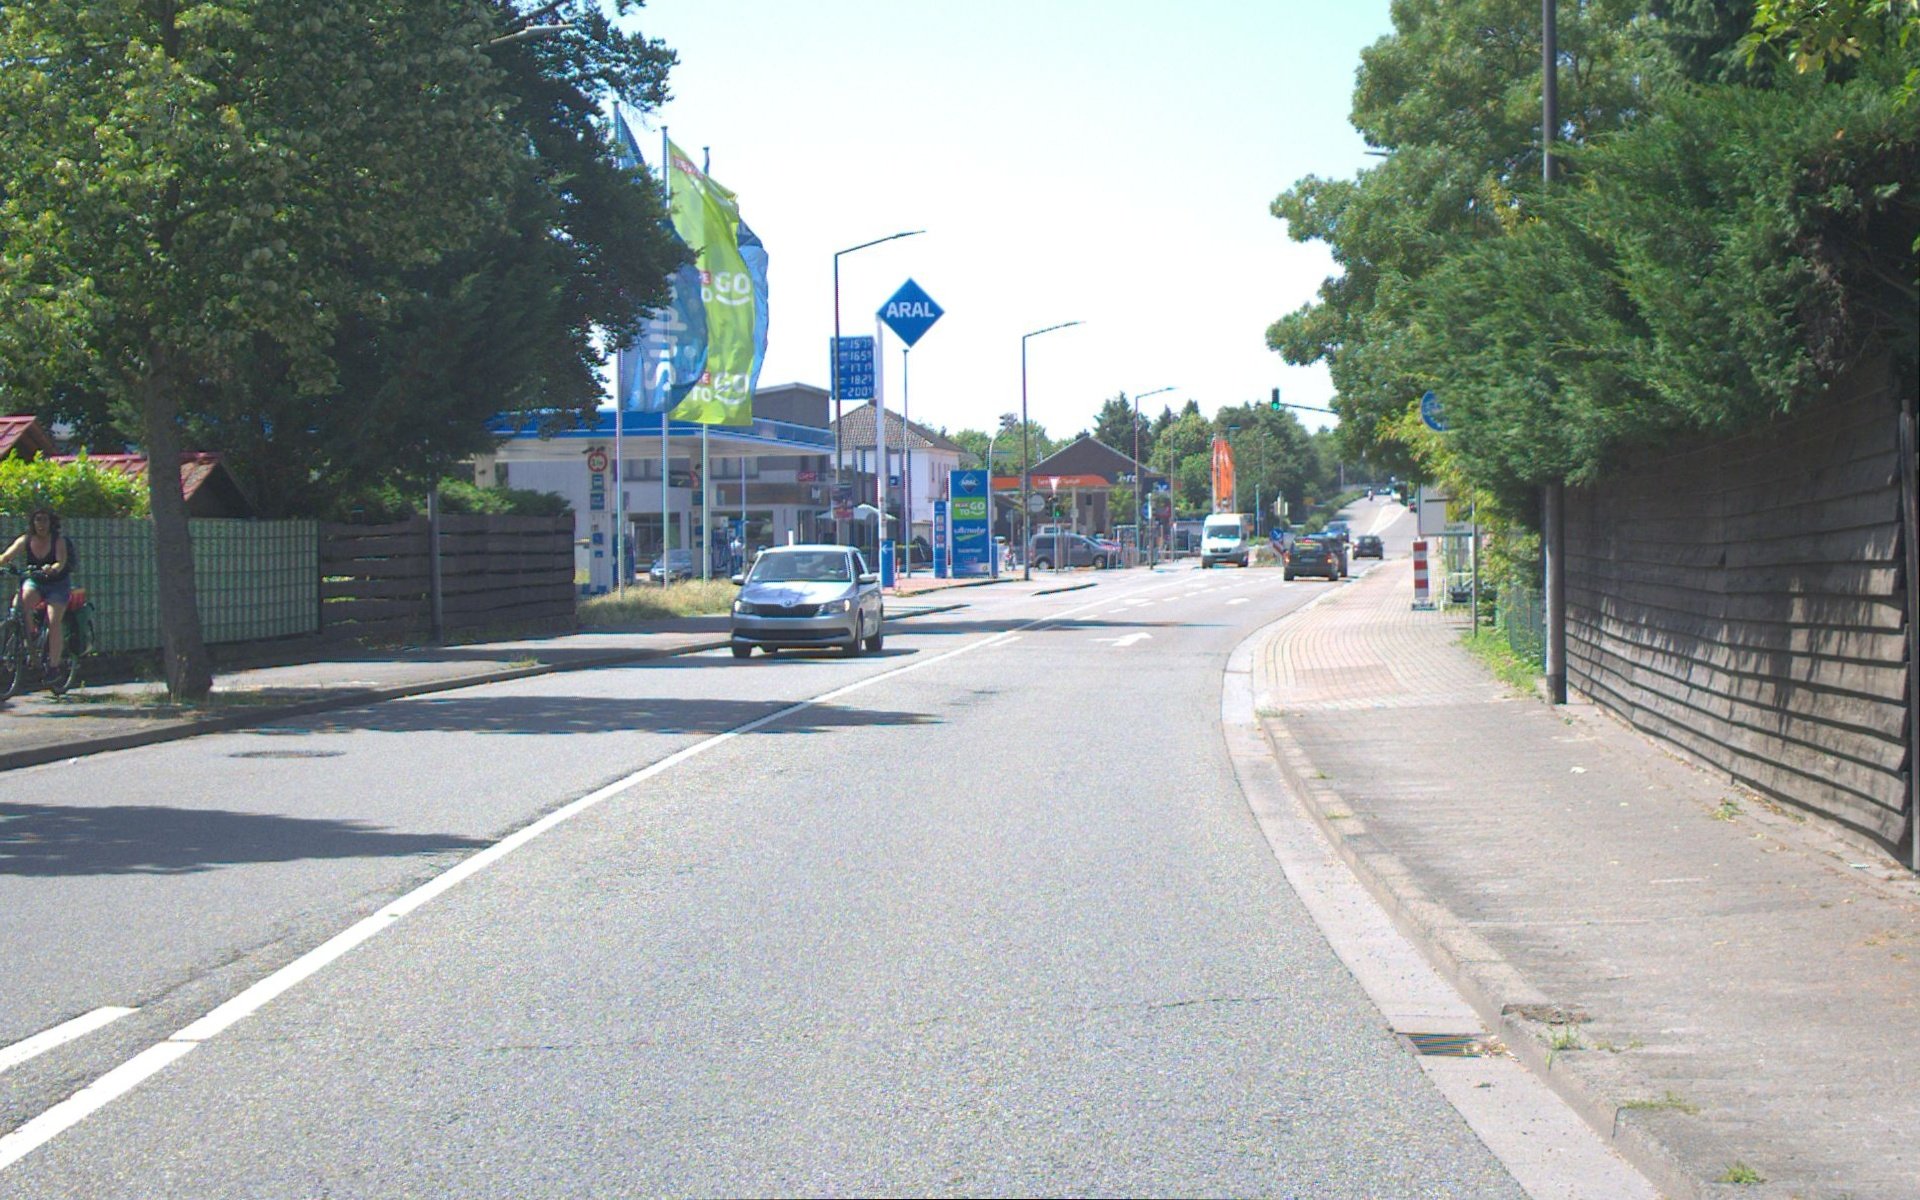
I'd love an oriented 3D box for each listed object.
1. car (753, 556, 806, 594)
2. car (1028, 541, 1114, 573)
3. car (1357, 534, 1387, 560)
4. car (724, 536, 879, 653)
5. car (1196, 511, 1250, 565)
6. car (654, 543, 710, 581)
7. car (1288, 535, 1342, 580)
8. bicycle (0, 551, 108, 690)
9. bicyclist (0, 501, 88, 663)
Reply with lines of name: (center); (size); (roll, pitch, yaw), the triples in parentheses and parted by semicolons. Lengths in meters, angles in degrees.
car: (-7.052, -0.996, 134.496); (1.617, 1.415, 3.711); (-2, 1, 4)
car: (5.300, -2.057, 163.429); (3.987, 1.503, 1.554); (0, 1, 5)
car: (23.752, -3.050, 198.127); (1.666, 1.450, 3.471); (0, 1, 8)
car: (-2.054, -0.098, 45.325); (1.612, 1.477, 3.707); (0, 1, 4)
car: (12.823, -2.989, 167.093); (1.994, 2.414, 5.945); (1, 0, 10)
car: (-10.838, -1.509, 134.320); (1.617, 1.415, 3.711); (-2, 1, 4)
car: (11.713, -1.419, 113.241); (1.666, 1.450, 3.471); (0, 1, 8)
bicycle: (-8.125, 0.165, 30.372); (0.632, 1.176, 1.816); (-1, 1, 4)
bicyclist: (-8.128, -0.164, 30.353); (0.628, 1.404, 0.676); (-1, 1, 4)
